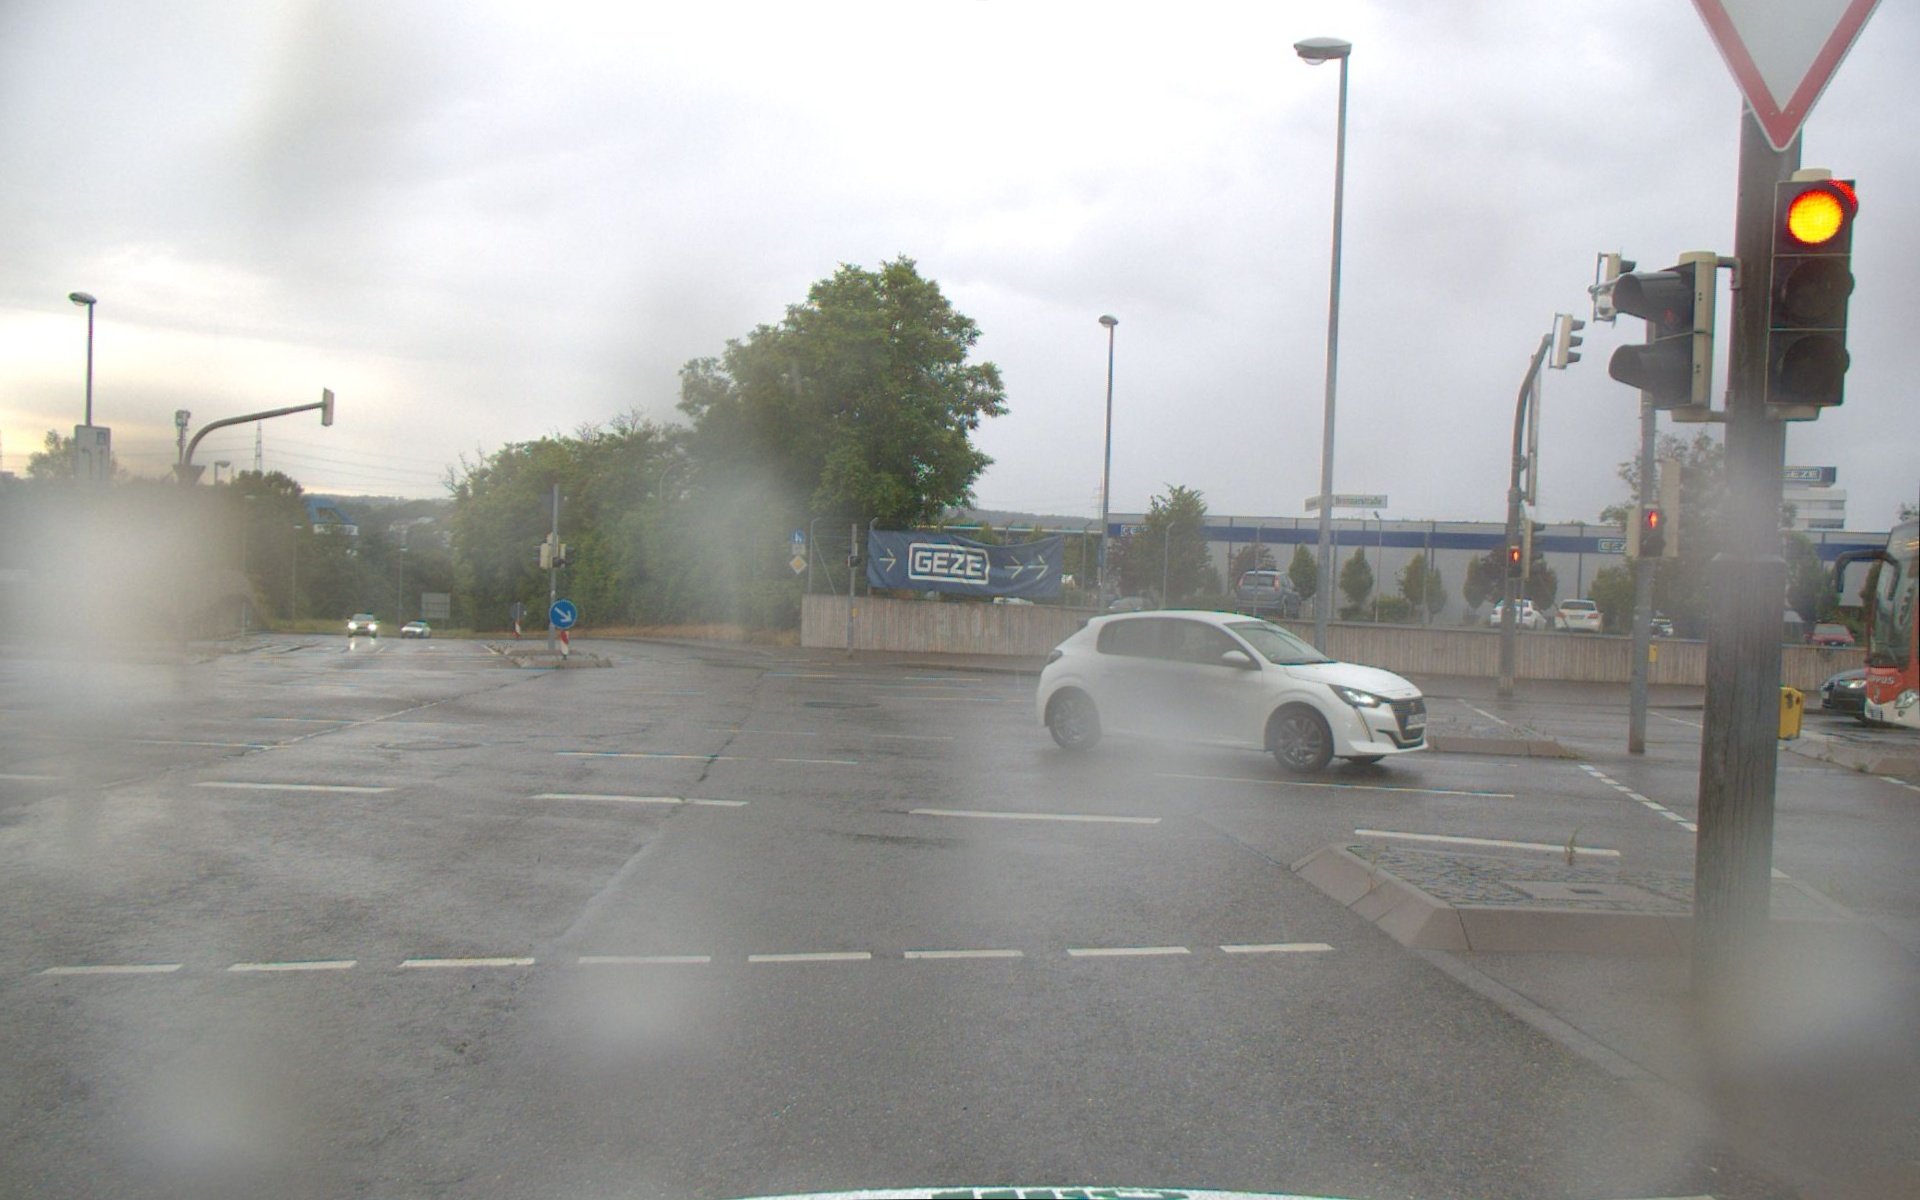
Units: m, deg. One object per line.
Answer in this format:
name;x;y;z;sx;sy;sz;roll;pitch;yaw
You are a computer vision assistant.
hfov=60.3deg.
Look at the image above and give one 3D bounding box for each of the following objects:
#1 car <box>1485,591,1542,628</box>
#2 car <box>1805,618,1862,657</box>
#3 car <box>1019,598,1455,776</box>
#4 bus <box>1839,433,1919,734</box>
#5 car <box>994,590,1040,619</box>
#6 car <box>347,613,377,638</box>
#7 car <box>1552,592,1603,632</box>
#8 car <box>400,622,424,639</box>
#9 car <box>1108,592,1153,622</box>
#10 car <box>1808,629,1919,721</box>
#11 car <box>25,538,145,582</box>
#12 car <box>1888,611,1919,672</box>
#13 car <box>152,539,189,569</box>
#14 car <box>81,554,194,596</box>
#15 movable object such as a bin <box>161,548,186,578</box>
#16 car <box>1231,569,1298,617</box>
car;23.032;0.404;68.707;1.781;1.459;4.100;1;0;25
car;39.150;1.673;74.192;1.883;1.616;3.788;2;0;22
car;2.721;0.782;16.565;3.903;1.534;1.863;1;0;37
bus;17.580;0.116;19.754;11.995;3.638;2.988;3;0;17
car;3.348;0.285;95.956;1.632;1.634;3.531;1;0;20
car;-37.877;1.598;104.725;1.638;1.521;3.973;1;-1;-22
car;25.448;0.489;68.113;1.820;1.552;4.103;1;0;22
car;-49.235;2.720;148.700;1.690;1.521;3.986;1;-1;-13
car;9.584;0.378;92.749;1.632;1.634;3.531;1;0;20
car;16.267;1.247;26.694;4.286;1.378;1.827;2;0;16
car;-35.852;-1.628;67.832;3.902;1.614;1.903;1;-2;8
car;33.546;1.416;57.430;1.707;2.049;3.824;1;0;20
car;-45.151;-2.593;94.549;1.806;1.467;3.964;3;-2;-27
car;-35.027;-1.070;70.478;3.902;1.614;1.903;1;-2;12
movable object such as a bin;-40.966;-1.917;86.171;1.071;1.462;1.434;3;-2;-27
car;10.647;-0.225;57.610;1.707;1.580;3.531;1;0;20
